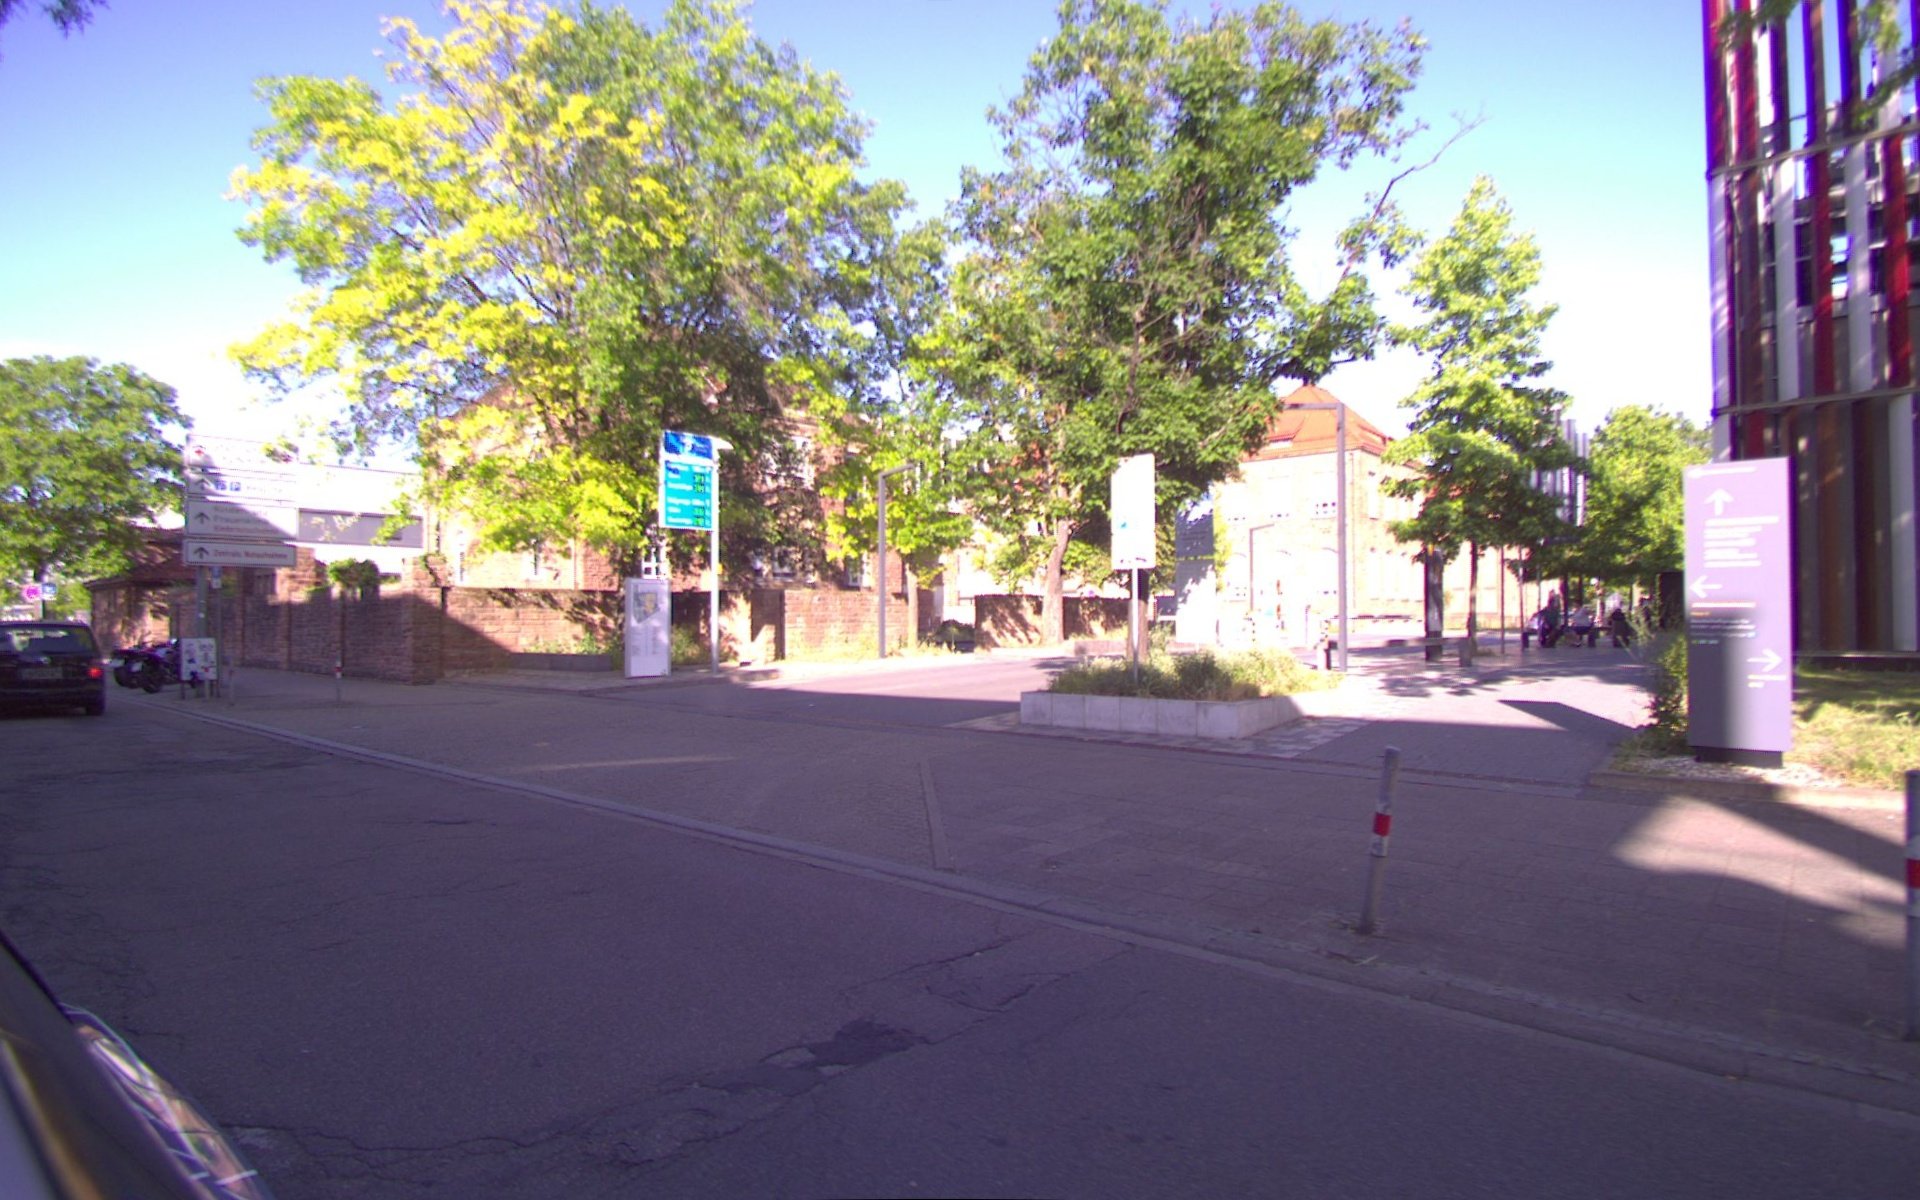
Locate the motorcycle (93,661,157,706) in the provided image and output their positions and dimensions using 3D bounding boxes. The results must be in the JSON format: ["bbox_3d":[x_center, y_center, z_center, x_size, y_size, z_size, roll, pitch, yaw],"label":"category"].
[{"bbox_3d":[-21.815,2.163,26.485,0.523,1.047,2.097,-1,-1,-17],"label":"motorcycle"}]

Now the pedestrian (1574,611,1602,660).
[{"bbox_3d":[17.569,0.985,28.299,0.609,1.363,0.565,-2,-1,35],"label":"pedestrian"}]

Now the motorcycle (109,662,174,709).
[{"bbox_3d":[-20.545,2.115,25.447,0.523,1.047,2.097,-1,-1,-17],"label":"motorcycle"}]

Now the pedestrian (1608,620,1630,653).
[{"bbox_3d":[24.530,1.356,37.667,0.609,1.185,0.564,-2,-1,37],"label":"pedestrian"}]

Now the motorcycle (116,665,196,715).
[{"bbox_3d":[-18.291,2.023,23.083,0.591,1.040,2.133,0,-2,-14],"label":"motorcycle"}]

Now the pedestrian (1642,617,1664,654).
[{"bbox_3d":[25.290,1.298,36.949,0.609,1.329,0.564,-2,-1,37],"label":"pedestrian"}]

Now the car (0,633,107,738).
[{"bbox_3d":[-16.158,1.417,17.343,4.017,1.624,1.627,-2,-4,40],"label":"car"}]

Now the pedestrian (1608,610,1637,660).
[{"bbox_3d":[18.167,0.957,27.732,0.609,1.363,0.565,-2,-1,35],"label":"pedestrian"}]

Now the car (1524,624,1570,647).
[{"bbox_3d":[37.066,2.228,63.880,1.738,1.334,3.026,-2,-1,45],"label":"car"}]

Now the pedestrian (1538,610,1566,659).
[{"bbox_3d":[16.826,0.979,28.764,0.609,1.390,0.565,-2,-1,35],"label":"pedestrian"}]
